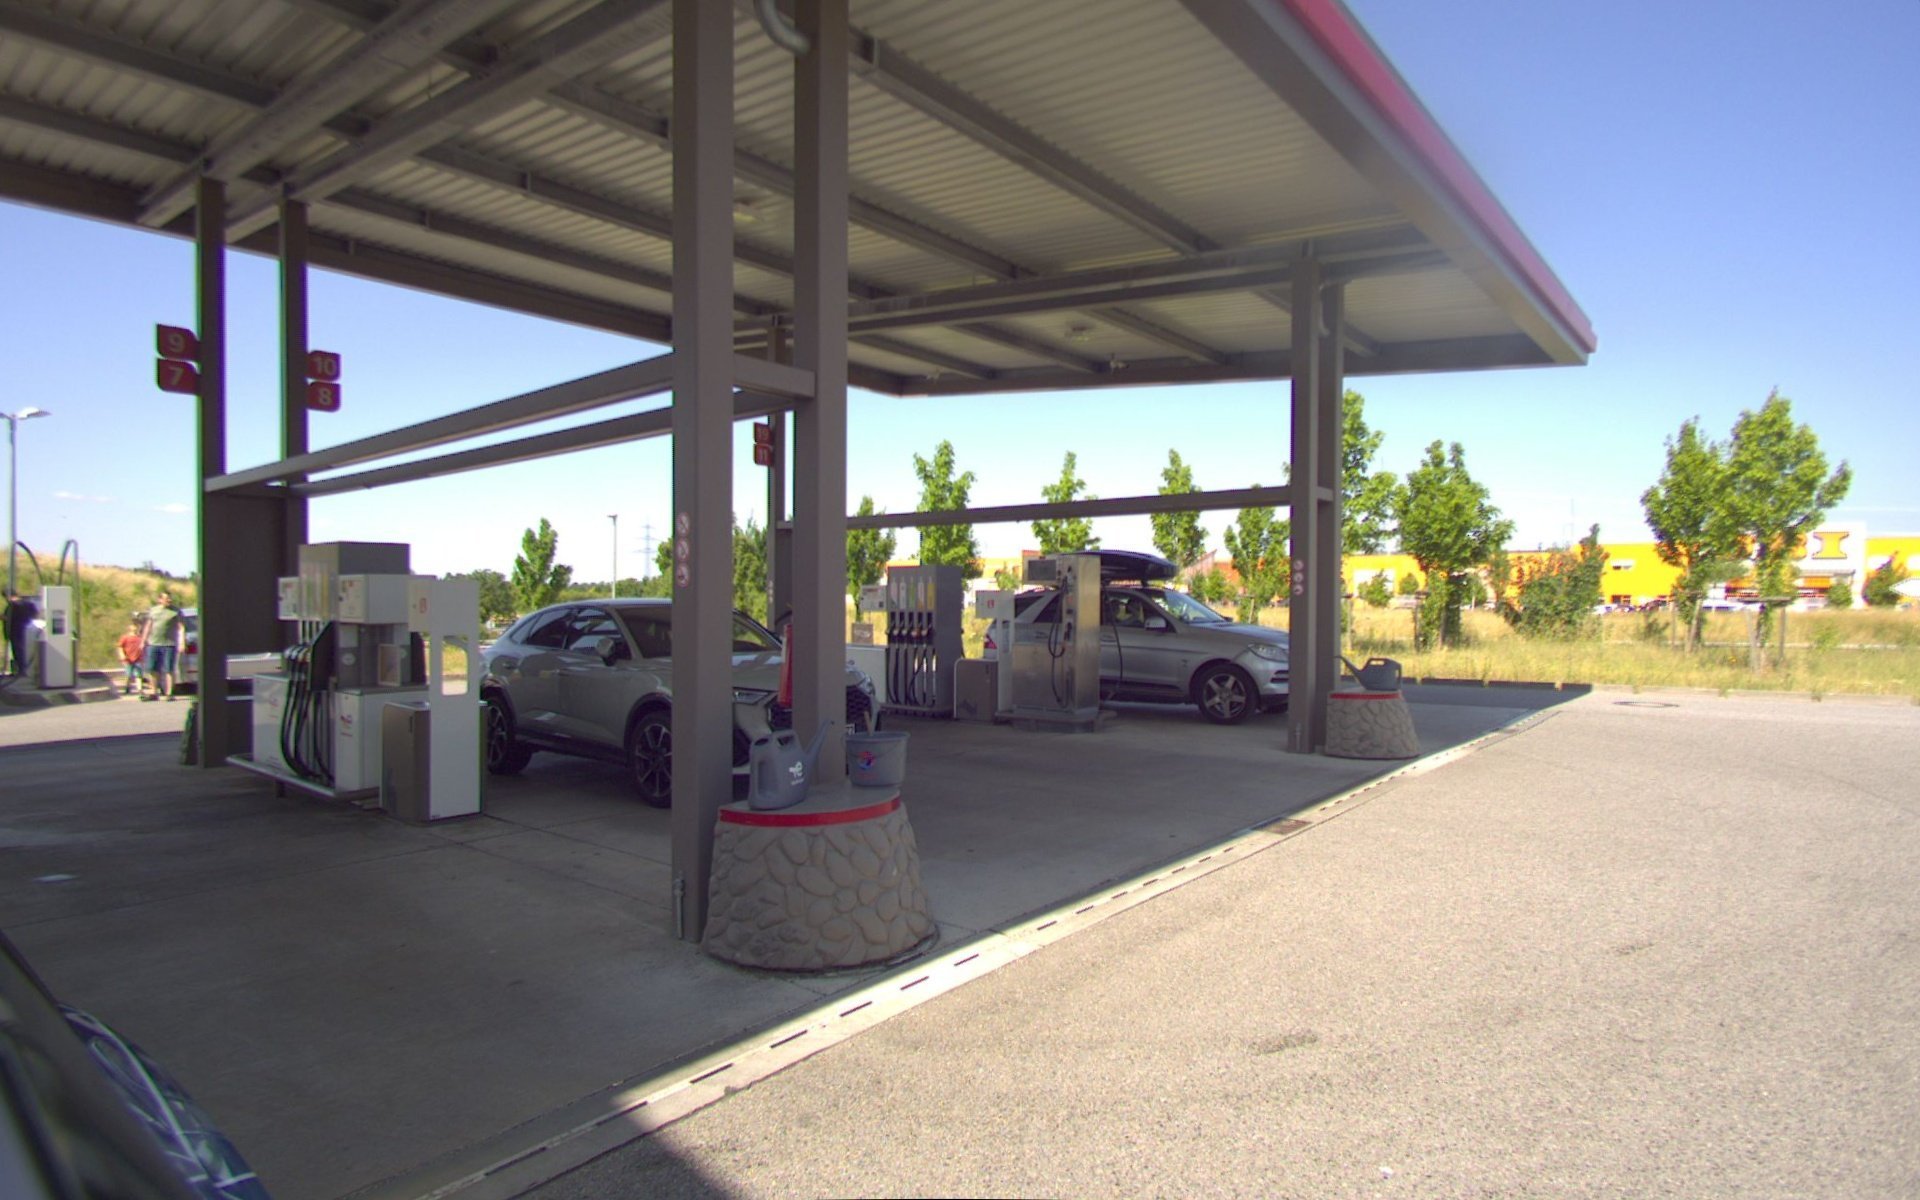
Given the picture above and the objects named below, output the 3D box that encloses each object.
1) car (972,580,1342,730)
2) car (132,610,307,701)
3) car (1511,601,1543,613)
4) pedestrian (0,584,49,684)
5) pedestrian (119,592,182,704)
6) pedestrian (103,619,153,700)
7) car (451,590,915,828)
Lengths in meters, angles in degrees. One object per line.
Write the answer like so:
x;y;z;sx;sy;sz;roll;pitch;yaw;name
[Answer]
2.528;0.653;13.576;4.528;1.700;1.842;-1;-1;37;car
-13.831;0.938;18.814;4.321;1.439;1.768;0;0;42;car
63.454;0.743;113.271;2.945;1.309;1.465;-1;-1;43;car
-17.368;0.609;18.470;0.832;1.783;0.710;0;-1;-3;pedestrian
-13.209;0.764;16.514;0.845;1.762;0.699;-1;-1;43;pedestrian
-14.034;0.990;17.065;0.669;1.316;0.570;-1;-1;43;pedestrian
-2.557;0.737;8.698;4.323;1.553;1.762;-1;-1;41;car
